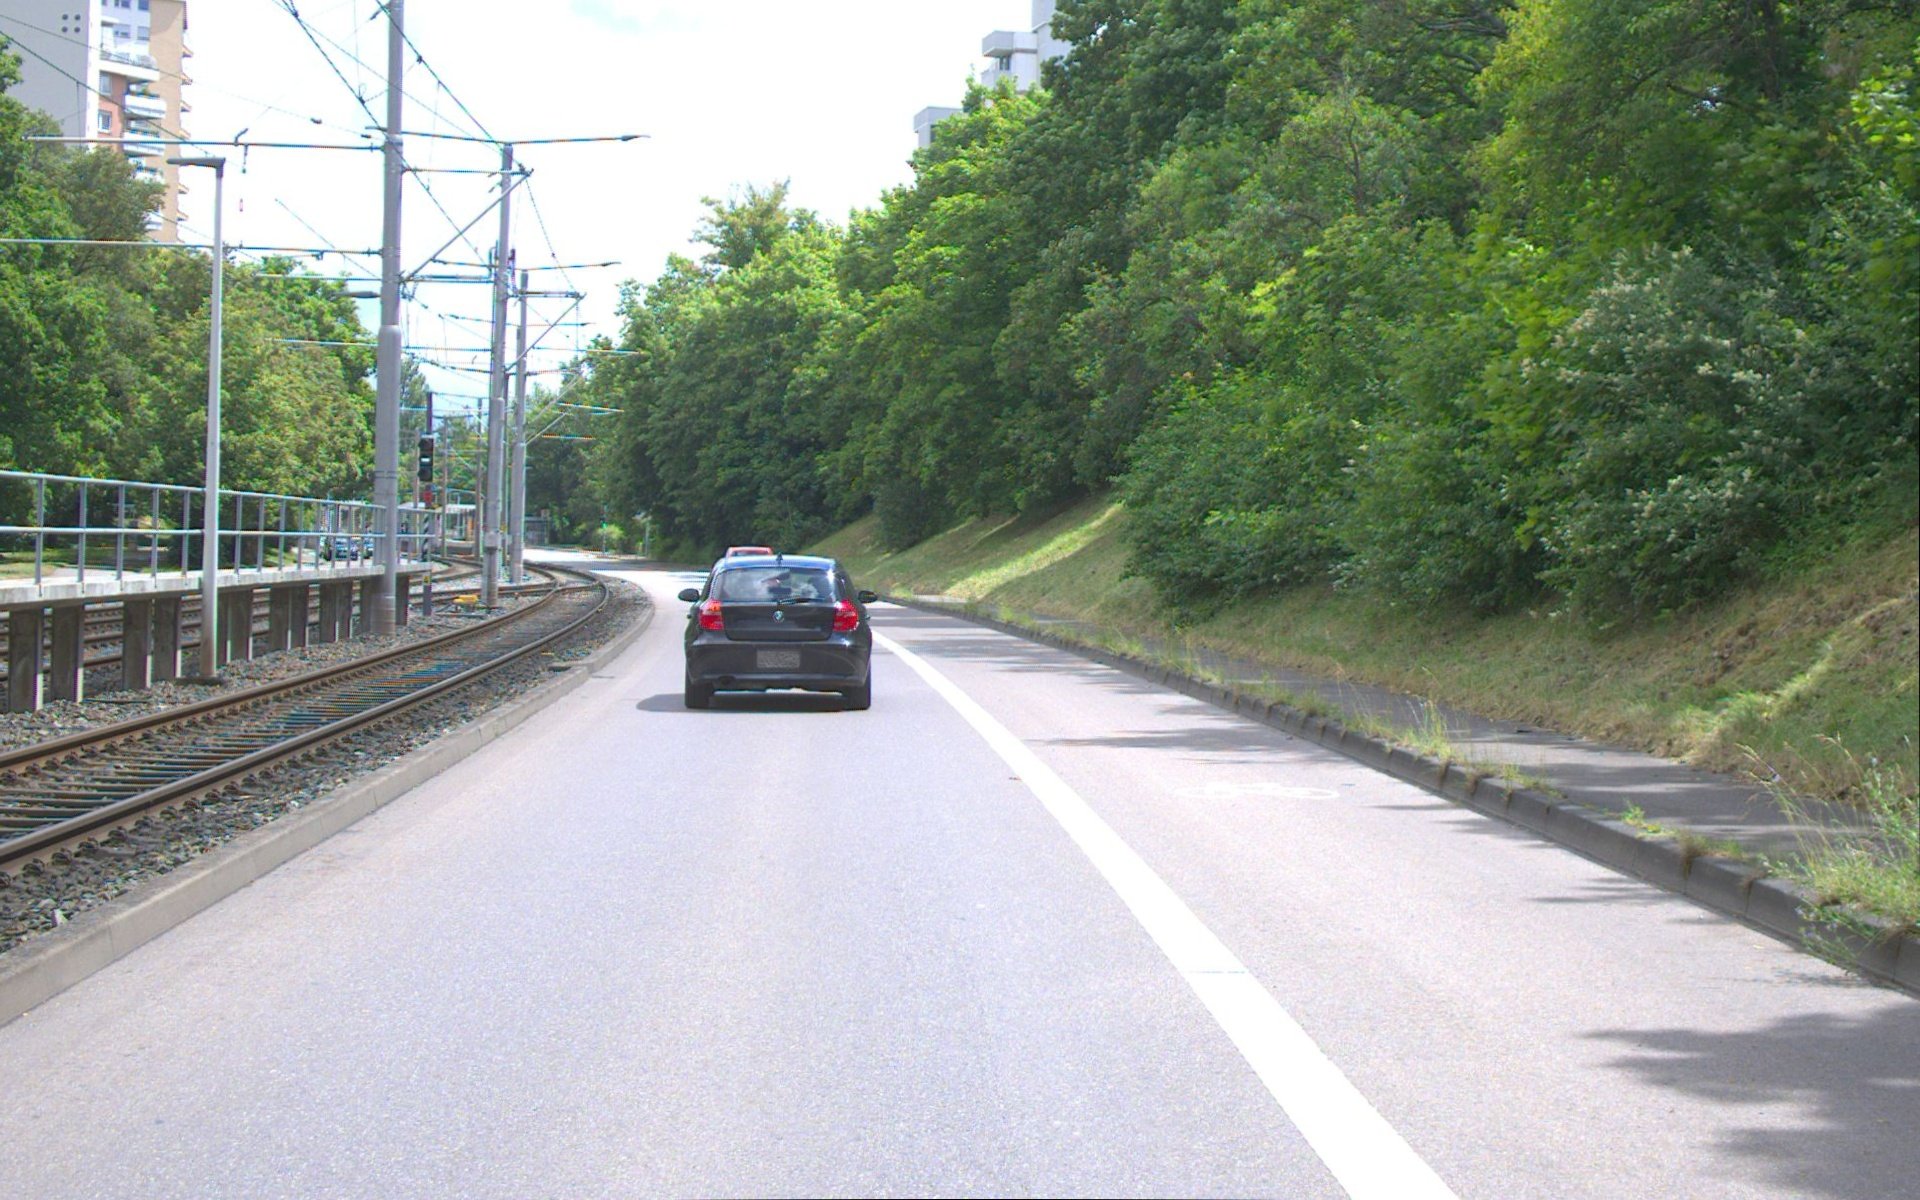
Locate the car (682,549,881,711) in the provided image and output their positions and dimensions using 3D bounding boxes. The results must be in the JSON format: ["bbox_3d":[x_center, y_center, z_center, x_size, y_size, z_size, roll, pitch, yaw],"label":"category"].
[{"bbox_3d":[-1.696,0.240,32.754,1.781,1.454,3.921,0,1,-3],"label":"car"}]

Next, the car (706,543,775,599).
[{"bbox_3d":[-5.913,-0.780,92.138,1.781,1.454,3.922,1,1,-4],"label":"car"}]
